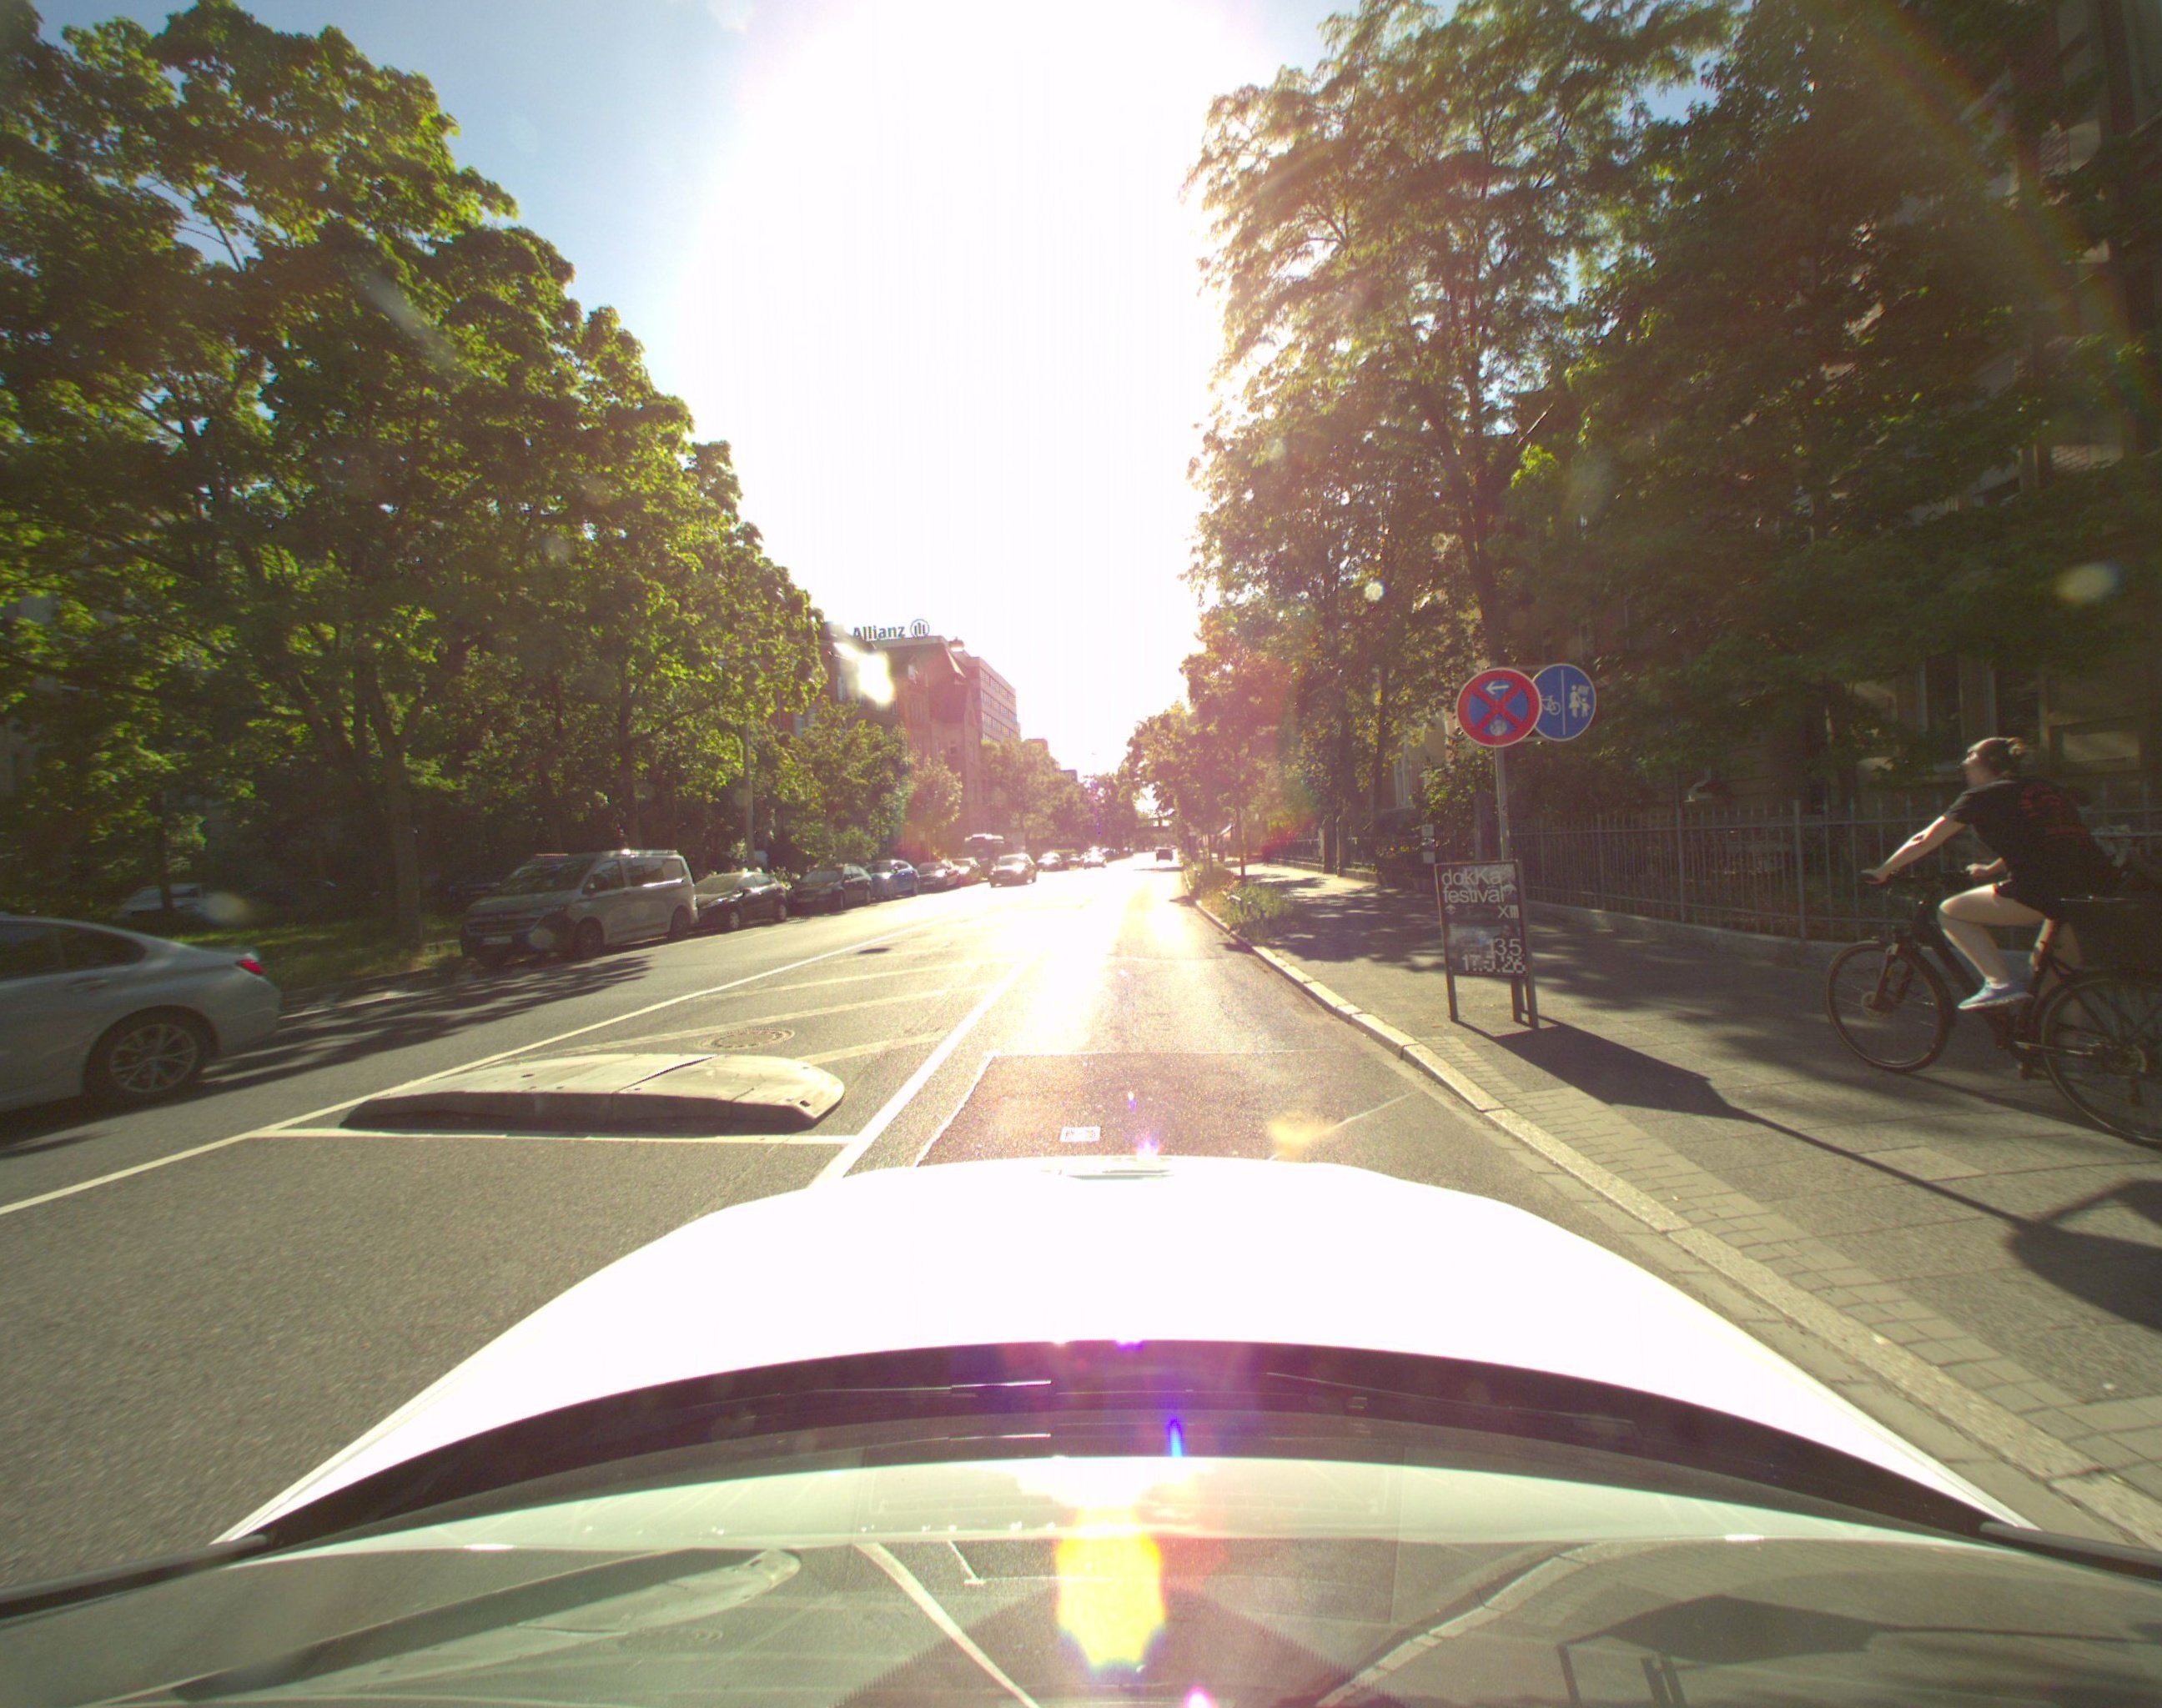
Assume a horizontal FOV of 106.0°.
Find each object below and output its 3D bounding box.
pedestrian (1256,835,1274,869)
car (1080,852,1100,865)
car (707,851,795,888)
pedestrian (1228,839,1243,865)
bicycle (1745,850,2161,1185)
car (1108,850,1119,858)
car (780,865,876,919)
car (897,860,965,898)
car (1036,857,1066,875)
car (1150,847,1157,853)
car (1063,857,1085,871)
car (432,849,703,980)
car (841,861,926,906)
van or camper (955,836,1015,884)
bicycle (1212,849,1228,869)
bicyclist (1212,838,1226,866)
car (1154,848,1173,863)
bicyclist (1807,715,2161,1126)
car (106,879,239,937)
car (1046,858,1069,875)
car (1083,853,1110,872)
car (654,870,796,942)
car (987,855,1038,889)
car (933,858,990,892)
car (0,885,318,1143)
[{"bbox_3d":[9.544,-0.114,42.284,0.691,1.658,0.821,-6,-1,5],"label":"pedestrian"},{"bbox_3d":[1.132,0.560,99.104,1.678,1.383,4.202,-2,0,9],"label":"car"},{"bbox_3d":[-19.097,0.856,47.334,1.841,1.914,4.480,-5,-2,31],"label":"car"},{"bbox_3d":[11.209,-0.164,59.082,0.741,1.787,0.815,-6,0,22],"label":"pedestrian"},{"bbox_3d":[4.328,0.605,3.948,0.650,1.176,1.844,-6,0,2],"label":"bicycle"},{"bbox_3d":[6.671,-0.023,166.672,1.846,1.568,3.879,-2,0,7],"label":"car"},{"bbox_3d":[-8.377,1.207,27.376,1.583,1.482,4.276,-4,0,3],"label":"car"},{"bbox_3d":[-6.844,1.109,37.659,1.771,1.413,4.413,-5,0,6],"label":"car"},{"bbox_3d":[-2.549,0.978,70.137,1.846,1.427,4.730,1,1,7],"label":"car"},{"bbox_3d":[23.016,-1.226,258.521,1.847,1.825,4.617,-5,0,5],"label":"car"},{"bbox_3d":[-0.696,1.034,82.984,1.669,1.255,4.023,-2,0,7],"label":"car"},{"bbox_3d":[-9.864,1.012,16.290,1.975,2.036,4.879,-5,0,3],"label":"car"},{"bbox_3d":[-7.871,1.146,32.897,1.771,1.538,4.568,-3,0,7],"label":"car"},{"bbox_3d":[-5.838,0.314,50.588,2.205,2.739,6.100,-3,0,6],"label":"van or camper"},{"bbox_3d":[8.881,0.280,52.039,0.613,1.176,1.920,-6,0,3],"label":"bicycle"},{"bbox_3d":[8.833,-0.121,52.019,0.618,1.690,0.821,-6,0,3],"label":"bicyclist"},{"bbox_3d":[9.203,0.159,91.015,1.975,1.600,4.147,-3,1,5],"label":"car"},{"bbox_3d":[4.288,0.281,3.919,0.643,1.695,0.889,-6,0,2],"label":"bicyclist"},{"bbox_3d":[-27.045,1.596,24.412,1.602,1.428,4.136,-6,1,-34],"label":"car"},{"bbox_3d":[-2.124,1.122,75.298,1.849,1.494,4.708,0,1,2],"label":"car"},{"bbox_3d":[1.394,0.743,71.947,1.908,1.419,4.233,-4,0,6],"label":"car"},{"bbox_3d":[-9.067,1.259,21.129,1.456,1.501,3.966,-4,0,7],"label":"car"},{"bbox_3d":[-3.284,0.851,39.846,1.584,1.450,4.141,-3,0,7],"label":"car"},{"bbox_3d":[-6.220,1.073,42.983,1.685,1.456,4.672,-5,0,6],"label":"car"},{"bbox_3d":[-7.663,1.093,4.596,1.794,1.494,4.725,-3,0,8],"label":"car"}]
